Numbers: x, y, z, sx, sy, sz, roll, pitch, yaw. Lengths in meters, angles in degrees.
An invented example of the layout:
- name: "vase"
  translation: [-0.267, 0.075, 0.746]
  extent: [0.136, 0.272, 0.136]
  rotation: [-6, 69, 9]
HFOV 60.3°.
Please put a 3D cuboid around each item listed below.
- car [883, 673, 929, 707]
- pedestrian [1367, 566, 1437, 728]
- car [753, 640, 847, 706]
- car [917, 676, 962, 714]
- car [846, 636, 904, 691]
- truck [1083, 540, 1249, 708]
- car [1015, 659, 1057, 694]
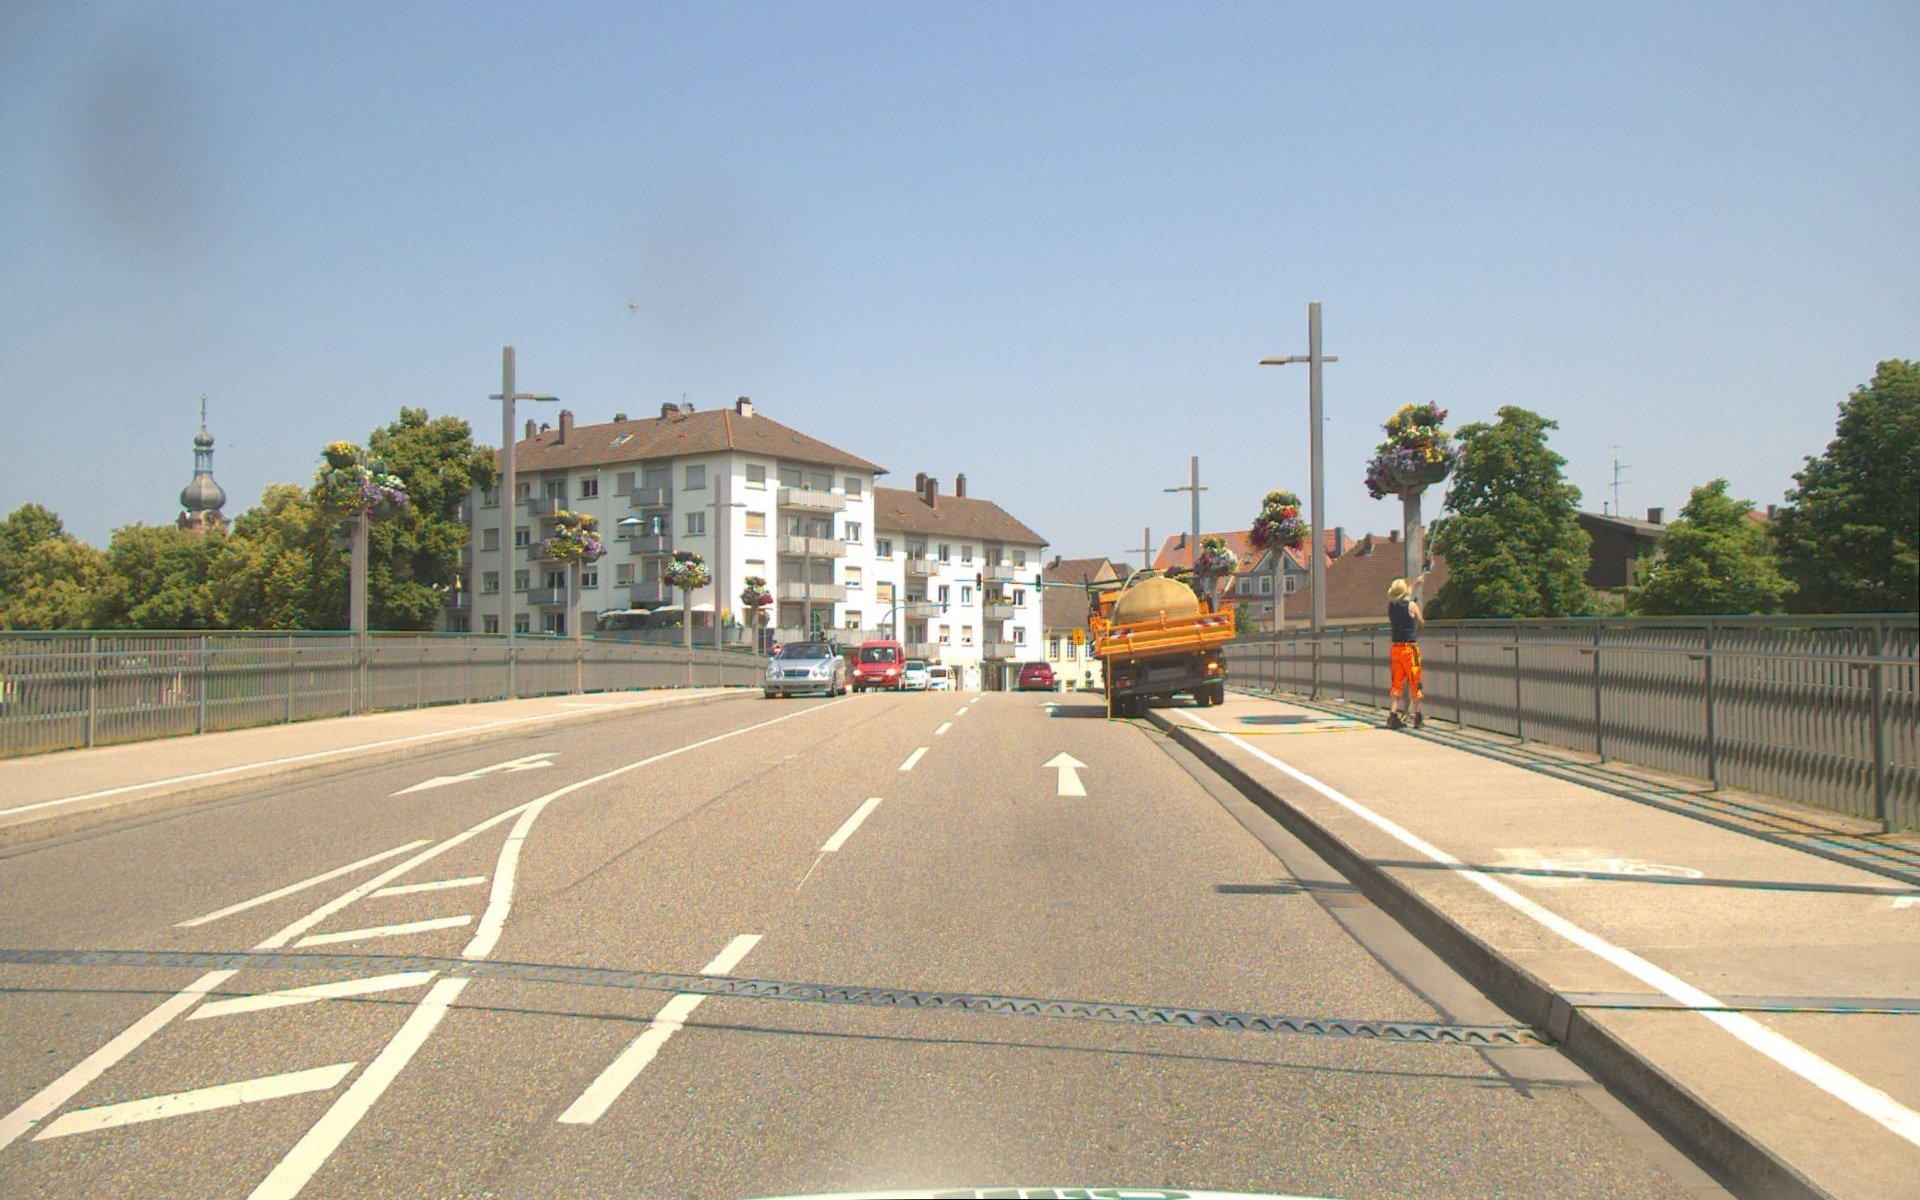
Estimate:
- name: "car"
  translation: [-2.350, 3.953, 73.009]
  extent: [1.806, 1.457, 4.713]
  rotation: [0, -3, 0]
- name: "pedestrian"
  translation: [5.502, 0.586, 20.611]
  extent: [0.657, 1.994, 0.548]
  rotation: [0, -3, -4]
- name: "car"
  translation: [-3.907, 1.776, 41.108]
  extent: [1.663, 1.382, 4.457]
  rotation: [-3, -1, 2]
- name: "car"
  translation: [-1.095, 5.233, 91.689]
  extent: [1.721, 1.890, 4.650]
  rotation: [1, -1, 9]
- name: "car"
  translation: [-2.872, 2.178, 56.492]
  extent: [1.700, 1.808, 4.176]
  rotation: [-1, -2, 1]
- name: "truck"
  translation: [3.610, 0.471, 30.232]
  extent: [2.551, 2.738, 5.824]
  rotation: [-1, -2, 3]
- name: "car"
  translation: [3.820, 3.840, 83.440]
  extent: [1.949, 1.641, 4.342]
  rotation: [-1, -2, 1]
